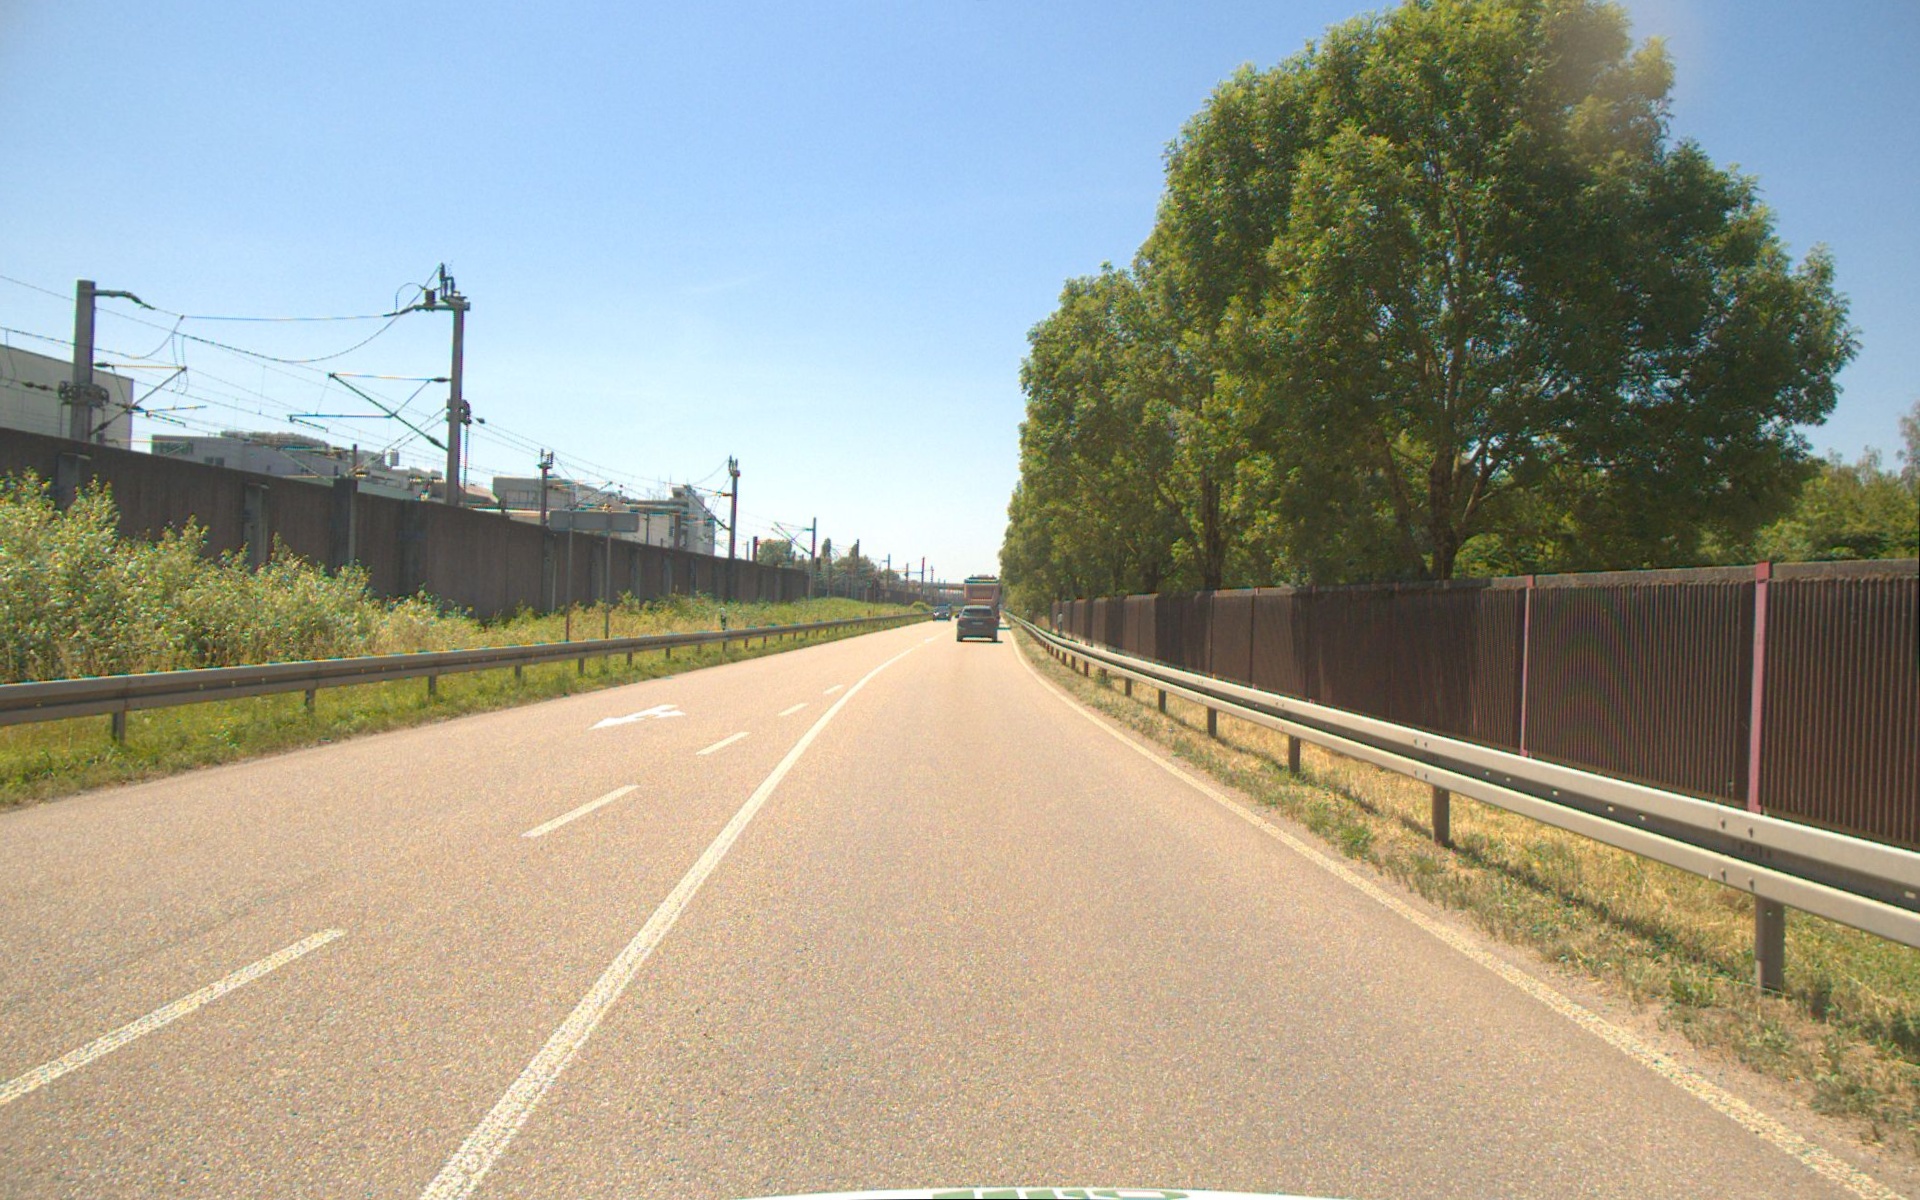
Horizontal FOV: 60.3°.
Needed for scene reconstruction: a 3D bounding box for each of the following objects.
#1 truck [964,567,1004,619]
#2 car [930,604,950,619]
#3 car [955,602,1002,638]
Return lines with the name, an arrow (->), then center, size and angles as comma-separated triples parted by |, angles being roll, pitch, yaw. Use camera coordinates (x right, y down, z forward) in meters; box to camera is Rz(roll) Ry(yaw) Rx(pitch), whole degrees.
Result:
truck -> 1.739, -0.444, 118.099 | 2.713, 3.485, 10.820 | 1, 0, 1
car -> -1.990, 1.152, 167.838 | 1.952, 1.534, 4.000 | 1, 0, 1
car -> 0.785, 0.873, 73.012 | 1.953, 1.534, 3.999 | 1, 0, -1
